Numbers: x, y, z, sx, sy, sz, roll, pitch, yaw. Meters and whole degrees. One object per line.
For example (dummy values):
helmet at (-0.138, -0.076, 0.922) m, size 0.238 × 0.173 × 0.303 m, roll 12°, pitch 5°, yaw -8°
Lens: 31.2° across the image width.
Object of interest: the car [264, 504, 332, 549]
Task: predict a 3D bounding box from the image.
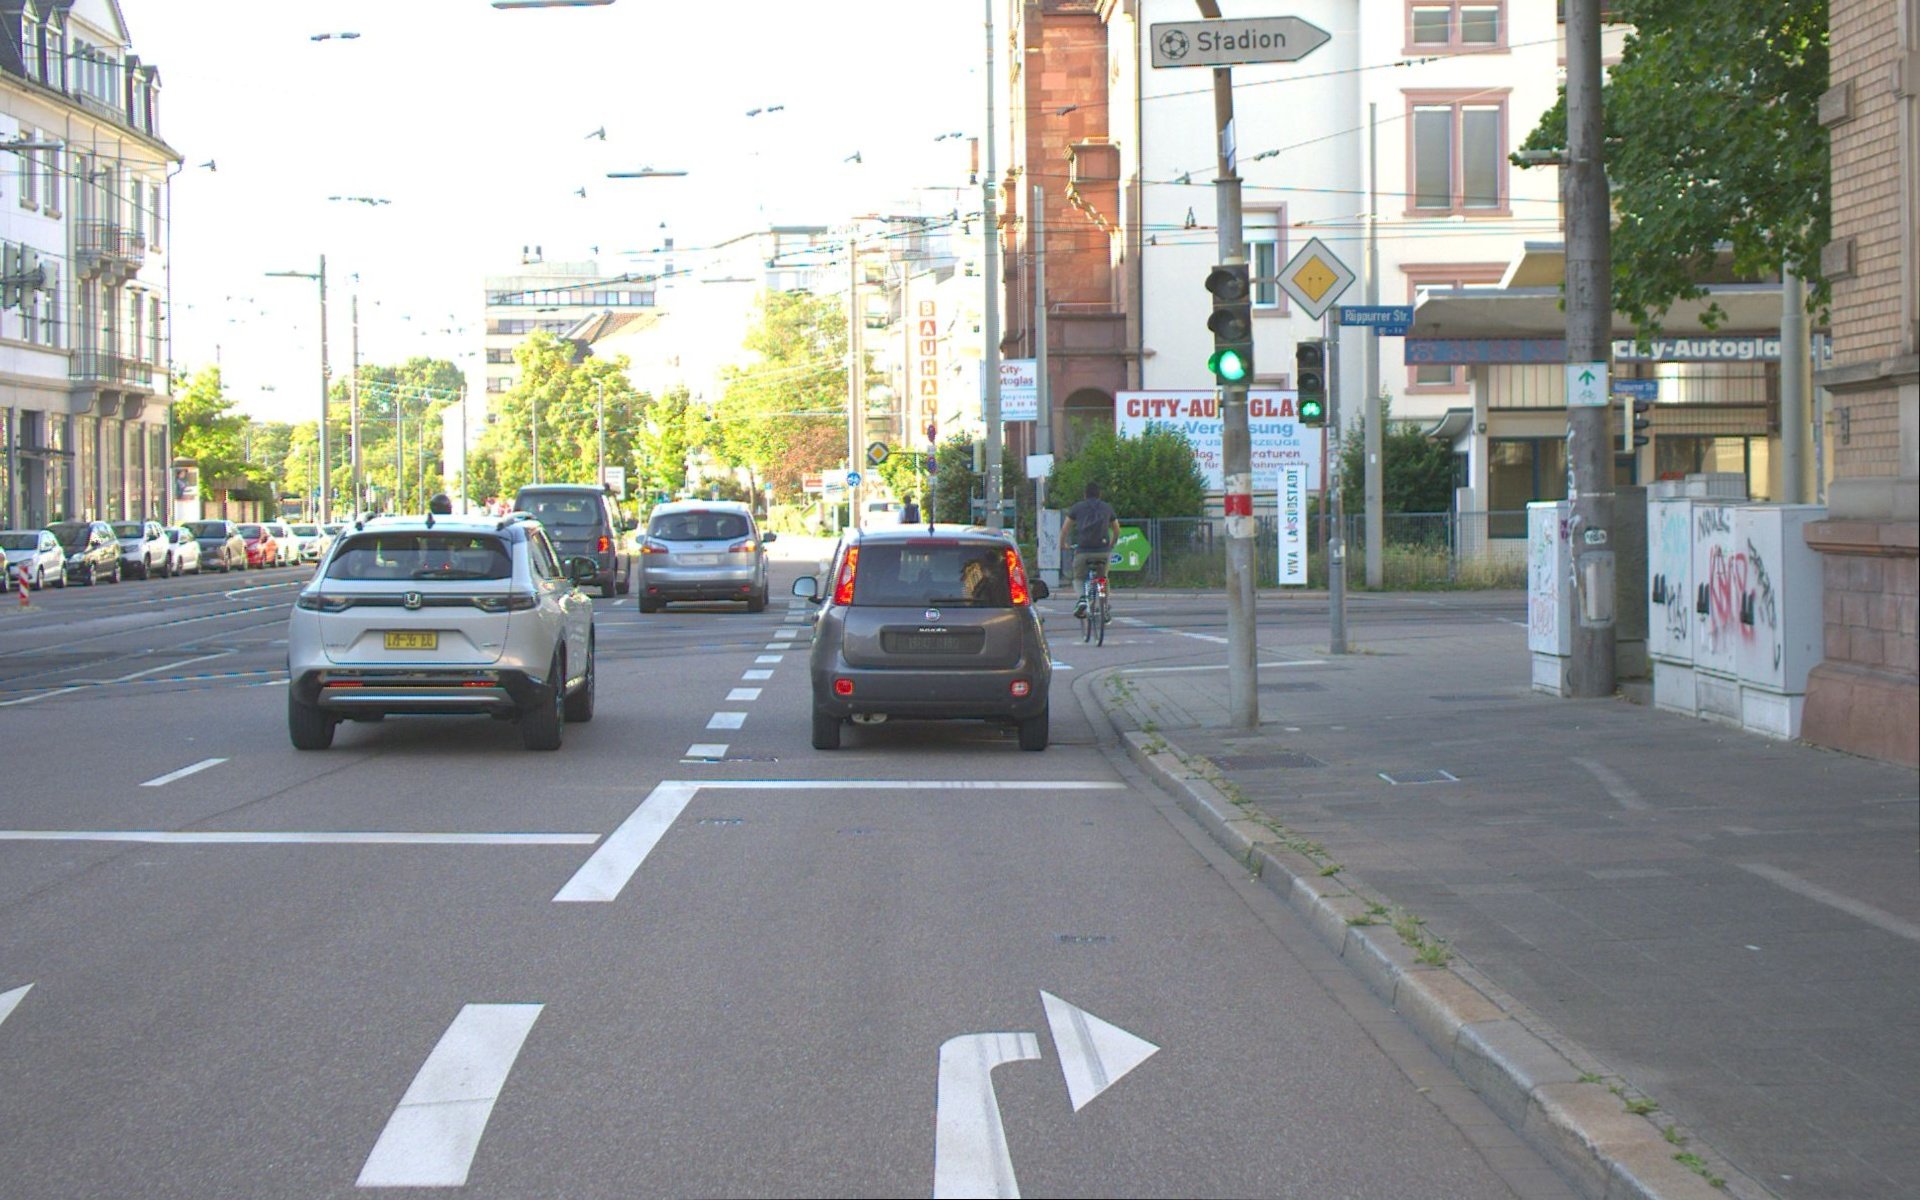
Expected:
car at (-23.729, -2.649, 123.390) m, size 1.719 × 1.546 × 4.001 m, roll 0°, pitch 2°, yaw -1°

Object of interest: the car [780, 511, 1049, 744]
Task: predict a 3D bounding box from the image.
car at (-0.247, 0.130, 24.546) m, size 1.731 × 1.495 × 4.000 m, roll 0°, pitch 2°, yaw 2°

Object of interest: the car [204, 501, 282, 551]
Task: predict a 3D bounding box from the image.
car at (-22.985, -2.400, 110.389) m, size 1.719 × 1.546 × 4.001 m, roll -1°, pitch 2°, yaw -1°

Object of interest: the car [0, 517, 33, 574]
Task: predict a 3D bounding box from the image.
car at (-22.108, -1.217, 76.928) m, size 1.719 × 1.228 × 4.001 m, roll -1°, pitch 2°, yaw -1°

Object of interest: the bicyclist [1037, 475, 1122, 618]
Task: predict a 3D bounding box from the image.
bicyclist at (1.284, -0.585, 37.210) m, size 0.834 × 1.520 × 0.994 m, roll 0°, pitch 1°, yaw -3°

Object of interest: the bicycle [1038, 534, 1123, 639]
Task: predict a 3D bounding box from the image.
bicycle at (1.291, -0.158, 37.127) m, size 0.771 × 1.082 × 1.871 m, roll 0°, pitch 2°, yaw -3°

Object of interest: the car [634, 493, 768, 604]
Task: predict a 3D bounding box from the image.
car at (-3.831, -0.786, 51.346) m, size 1.814 × 1.576 × 4.001 m, roll -1°, pitch 1°, yaw -2°

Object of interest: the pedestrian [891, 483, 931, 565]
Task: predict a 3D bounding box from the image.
pedestrian at (-1.081, -1.692, 76.409) m, size 0.875 × 1.818 × 1.184 m, roll 0°, pitch 1°, yaw 0°

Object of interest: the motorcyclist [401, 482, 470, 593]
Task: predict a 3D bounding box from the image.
motorcyclist at (-6.785, -0.820, 44.524) m, size 0.777 × 1.418 × 0.891 m, roll 0°, pitch 2°, yaw -2°

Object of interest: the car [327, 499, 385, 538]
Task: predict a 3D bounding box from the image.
car at (-24.627, -3.330, 140.241) m, size 1.719 × 1.546 × 4.001 m, roll -1°, pitch 2°, yaw -1°

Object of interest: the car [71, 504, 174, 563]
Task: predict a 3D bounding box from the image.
car at (-22.923, -1.844, 94.220) m, size 1.835 × 1.546 × 4.275 m, roll -1°, pitch 2°, yaw -1°

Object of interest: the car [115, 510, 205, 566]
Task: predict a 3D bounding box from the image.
car at (-23.108, -1.817, 99.360) m, size 1.719 × 1.546 × 4.001 m, roll -1°, pitch 2°, yaw -1°

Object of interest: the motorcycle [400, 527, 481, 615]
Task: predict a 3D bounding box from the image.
motorcycle at (-6.724, -0.388, 44.596) m, size 0.777 × 1.078 × 2.281 m, roll 0°, pitch 2°, yaw -2°

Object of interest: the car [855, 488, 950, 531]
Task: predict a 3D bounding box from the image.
car at (-2.723, -4.293, 163.135) m, size 4.257 × 2.007 × 2.001 m, roll 0°, pitch 1°, yaw -10°

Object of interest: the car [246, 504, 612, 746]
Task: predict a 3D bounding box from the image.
car at (-3.583, 0.103, 23.920) m, size 1.947 × 1.523 × 4.090 m, roll 0°, pitch 2°, yaw 0°

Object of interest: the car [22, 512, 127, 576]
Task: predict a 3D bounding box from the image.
car at (-22.502, -1.437, 87.460) m, size 1.719 × 1.546 × 3.857 m, roll -1°, pitch 2°, yaw -1°

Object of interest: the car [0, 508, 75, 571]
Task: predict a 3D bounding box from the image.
car at (-22.597, -1.473, 82.502) m, size 1.719 × 1.447 × 4.001 m, roll -1°, pitch 2°, yaw -1°

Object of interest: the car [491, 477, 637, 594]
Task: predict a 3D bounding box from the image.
car at (-7.073, -1.177, 61.845) m, size 2.172 × 2.002 × 4.809 m, roll -1°, pitch 2°, yaw -1°

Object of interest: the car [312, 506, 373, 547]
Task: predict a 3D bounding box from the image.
car at (-24.086, -2.885, 134.244) m, size 1.719 × 1.546 × 4.001 m, roll -1°, pitch 2°, yaw -1°

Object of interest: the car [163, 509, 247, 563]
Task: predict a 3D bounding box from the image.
car at (-22.915, -1.960, 104.438) m, size 1.719 × 1.546 × 4.001 m, roll -1°, pitch 2°, yaw -1°
